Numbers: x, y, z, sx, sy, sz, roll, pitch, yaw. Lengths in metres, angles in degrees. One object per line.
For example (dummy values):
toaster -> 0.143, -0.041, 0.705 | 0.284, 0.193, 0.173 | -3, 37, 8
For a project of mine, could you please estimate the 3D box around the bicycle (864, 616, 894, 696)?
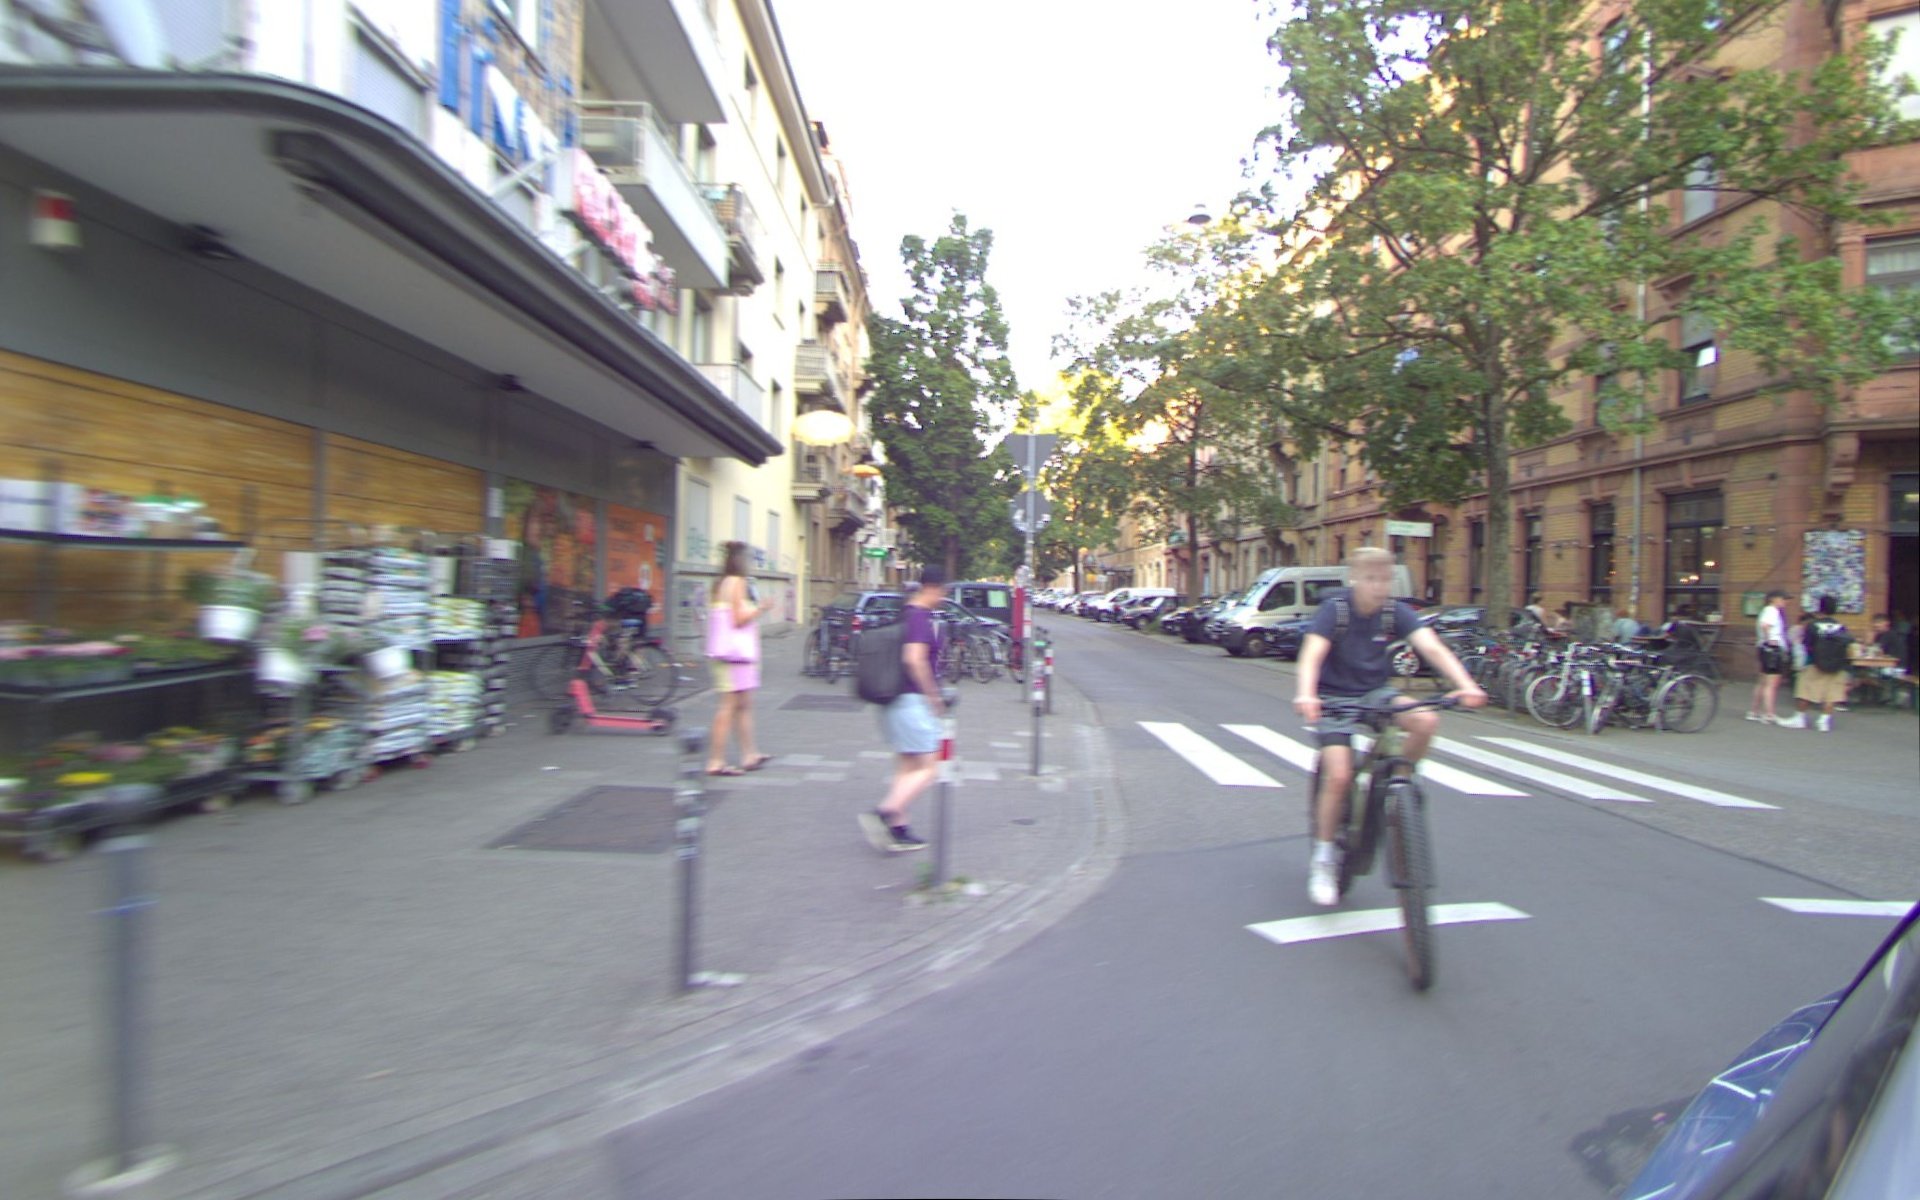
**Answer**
bicycle -> -1.161, 0.762, 14.352 | 0.370, 1.040, 1.664 | 0, -1, -7

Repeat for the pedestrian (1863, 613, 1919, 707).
pedestrian -> 14.054, 0.871, 15.070 | 0.724, 1.363, 0.628 | 0, -1, -21

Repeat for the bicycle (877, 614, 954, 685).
bicycle -> -0.739, 0.745, 16.033 | 0.481, 1.040, 2.018 | 0, -1, -25

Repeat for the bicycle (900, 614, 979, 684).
bicycle -> -0.360, 0.747, 16.251 | 0.481, 1.040, 2.018 | 0, -1, -25

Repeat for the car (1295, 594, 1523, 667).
car -> 9.937, 0.657, 22.650 | 4.213, 1.545, 1.909 | 0, -1, 2

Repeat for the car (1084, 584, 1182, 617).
car -> 9.622, 0.031, 56.651 | 5.100, 1.807, 2.000 | 0, -1, 0

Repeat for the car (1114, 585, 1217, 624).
car -> 9.719, 0.221, 48.192 | 4.458, 1.807, 2.000 | 0, -1, 0

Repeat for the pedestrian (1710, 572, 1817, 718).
pedestrian -> 10.602, 0.569, 13.358 | 0.851, 1.851, 0.838 | 1, -1, -30

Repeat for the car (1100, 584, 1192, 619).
car -> 9.774, 0.087, 53.386 | 4.458, 1.807, 2.000 | 0, -1, 0

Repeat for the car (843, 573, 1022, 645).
car -> -0.736, 0.237, 27.521 | 4.450, 1.807, 2.003 | 0, -1, -25

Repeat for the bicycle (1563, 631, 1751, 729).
bicycle -> 8.418, 0.957, 12.247 | 1.995, 1.148, 0.435 | 0, -1, -2

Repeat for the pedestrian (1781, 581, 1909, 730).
pedestrian -> 10.804, 0.648, 12.390 | 0.855, 1.745, 0.833 | 0, -1, 13

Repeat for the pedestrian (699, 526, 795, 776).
pedestrian -> -1.584, 0.358, 7.507 | 0.652, 1.748, 0.723 | 0, -1, -13

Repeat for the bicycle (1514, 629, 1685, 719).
bicycle -> 8.367, 0.955, 13.271 | 1.995, 1.148, 0.435 | 0, -1, -2

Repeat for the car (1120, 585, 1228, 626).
car -> 9.657, 0.255, 45.912 | 4.458, 1.807, 2.000 | 0, -1, 0

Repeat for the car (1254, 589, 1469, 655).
car -> 9.745, 0.529, 24.864 | 4.460, 1.545, 1.999 | 0, -1, 2

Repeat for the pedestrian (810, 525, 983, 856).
pedestrian -> -0.361, 0.456, 5.610 | 0.704, 1.673, 0.714 | 1, -1, -32

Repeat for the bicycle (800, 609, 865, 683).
bicycle -> -1.971, 0.661, 15.402 | 0.370, 1.040, 2.018 | 0, -1, -25

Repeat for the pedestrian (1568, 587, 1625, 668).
pedestrian -> 13.571, 0.577, 21.599 | 0.733, 1.698, 0.765 | 0, -1, 5

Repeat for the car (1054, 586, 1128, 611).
car -> 9.569, -0.073, 74.130 | 5.100, 1.807, 2.000 | 0, -1, 0

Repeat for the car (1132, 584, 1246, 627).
car -> 9.814, 0.243, 43.680 | 4.458, 1.807, 2.000 | 0, -1, 0

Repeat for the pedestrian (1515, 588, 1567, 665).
pedestrian -> 13.002, 0.582, 22.677 | 0.733, 1.698, 0.765 | 0, -1, 5

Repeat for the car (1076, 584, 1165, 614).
car -> 9.801, -0.066, 62.066 | 5.100, 1.807, 2.000 | 0, -1, 0

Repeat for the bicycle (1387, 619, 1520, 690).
bicycle -> 8.142, 0.894, 16.728 | 1.995, 1.148, 0.435 | 0, -1, -2

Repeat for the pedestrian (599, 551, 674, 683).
pedestrian -> -4.086, 0.215, 12.814 | 0.705, 1.621, 0.665 | 0, -1, 6

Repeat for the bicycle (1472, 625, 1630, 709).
bicycle -> 8.293, 0.927, 14.229 | 1.995, 1.148, 0.435 | 0, -1, -2

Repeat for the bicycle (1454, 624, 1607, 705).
bicycle -> 8.282, 0.929, 14.711 | 1.995, 1.148, 0.435 | 0, -1, -2

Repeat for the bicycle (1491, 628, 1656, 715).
bicycle -> 8.330, 0.957, 13.760 | 1.995, 1.148, 0.435 | 0, -1, -2

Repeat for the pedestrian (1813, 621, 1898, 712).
pedestrian -> 12.686, 0.923, 14.341 | 0.724, 1.248, 0.628 | 0, -1, -21

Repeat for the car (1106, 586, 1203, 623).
car -> 9.653, 0.234, 50.487 | 4.458, 1.807, 2.000 | 0, -1, 0

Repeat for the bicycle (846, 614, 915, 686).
bicycle -> -1.266, 0.743, 15.743 | 0.370, 1.040, 2.018 | 0, -1, -25

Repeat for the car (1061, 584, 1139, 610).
car -> 9.605, -0.193, 69.668 | 5.100, 1.807, 2.000 | 0, -1, 0

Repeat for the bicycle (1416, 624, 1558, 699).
bicycle -> 8.186, 0.946, 15.744 | 1.995, 1.148, 0.435 | 0, -1, -2

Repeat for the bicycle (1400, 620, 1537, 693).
bicycle -> 8.160, 0.905, 16.251 | 1.995, 1.148, 0.435 | 0, -1, -2

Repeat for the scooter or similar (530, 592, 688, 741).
scooter or similar -> -3.149, 0.596, 9.138 | 1.262, 1.283, 0.322 | 2, -1, -9

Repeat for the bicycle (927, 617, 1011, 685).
bicycle -> 0.121, 0.813, 16.728 | 0.481, 1.040, 2.018 | 0, -1, -28

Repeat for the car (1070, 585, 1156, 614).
car -> 9.711, -0.052, 64.494 | 5.100, 1.807, 2.000 | 0, -1, 0

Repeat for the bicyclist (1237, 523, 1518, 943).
bicyclist -> 1.852, 0.546, 4.646 | 0.775, 1.710, 0.999 | 2, 0, -5

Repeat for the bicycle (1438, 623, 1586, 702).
bicycle -> 8.274, 0.928, 15.193 | 1.995, 1.148, 0.435 | 0, -1, -2

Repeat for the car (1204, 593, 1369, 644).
car -> 10.108, 0.566, 31.584 | 4.458, 1.545, 2.000 | 0, -1, 0

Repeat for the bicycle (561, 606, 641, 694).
bicycle -> -4.538, 0.598, 12.912 | 0.370, 1.040, 1.882 | 0, 0, -1

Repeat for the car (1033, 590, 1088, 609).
car -> 9.722, -0.070, 97.760 | 5.100, 1.807, 2.000 | 0, -1, 0

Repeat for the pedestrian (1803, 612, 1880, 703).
pedestrian -> 13.637, 0.874, 15.666 | 0.724, 1.363, 0.628 | 0, -1, -21

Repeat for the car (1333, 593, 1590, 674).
car -> 10.022, 0.645, 20.477 | 4.213, 1.545, 1.909 | 0, -1, 2

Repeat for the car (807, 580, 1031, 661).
car -> -0.824, 0.405, 21.633 | 4.460, 1.545, 1.999 | 0, -1, -37

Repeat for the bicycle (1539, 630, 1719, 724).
bicycle -> 8.409, 0.960, 12.744 | 1.995, 1.148, 0.435 | 0, -1, -2

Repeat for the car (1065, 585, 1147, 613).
car -> 9.577, -0.040, 66.845 | 5.100, 1.807, 2.000 | 0, -1, 0

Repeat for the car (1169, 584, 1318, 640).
car -> 9.538, 0.401, 34.309 | 4.458, 1.807, 2.000 | 0, -1, 0

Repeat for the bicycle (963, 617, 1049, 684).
bicycle -> 0.745, 0.815, 17.058 | 0.481, 1.040, 2.018 | 0, -1, -28

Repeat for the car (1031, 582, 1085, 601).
car -> 9.734, -0.857, 100.670 | 5.100, 1.807, 2.000 | 0, -1, 0

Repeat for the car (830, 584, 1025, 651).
car -> -0.836, 0.423, 24.837 | 4.449, 1.545, 2.004 | 0, -1, -15

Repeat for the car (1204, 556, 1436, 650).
car -> 9.640, 0.090, 27.453 | 5.435, 2.452, 2.246 | 0, -1, -1

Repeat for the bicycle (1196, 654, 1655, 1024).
bicycle -> 1.845, 0.869, 4.551 | 0.775, 1.086, 2.288 | 2, 0, -6

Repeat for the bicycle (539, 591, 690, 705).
bicycle -> -3.858, 0.513, 11.267 | 1.787, 1.218, 0.346 | 0, -1, 21
